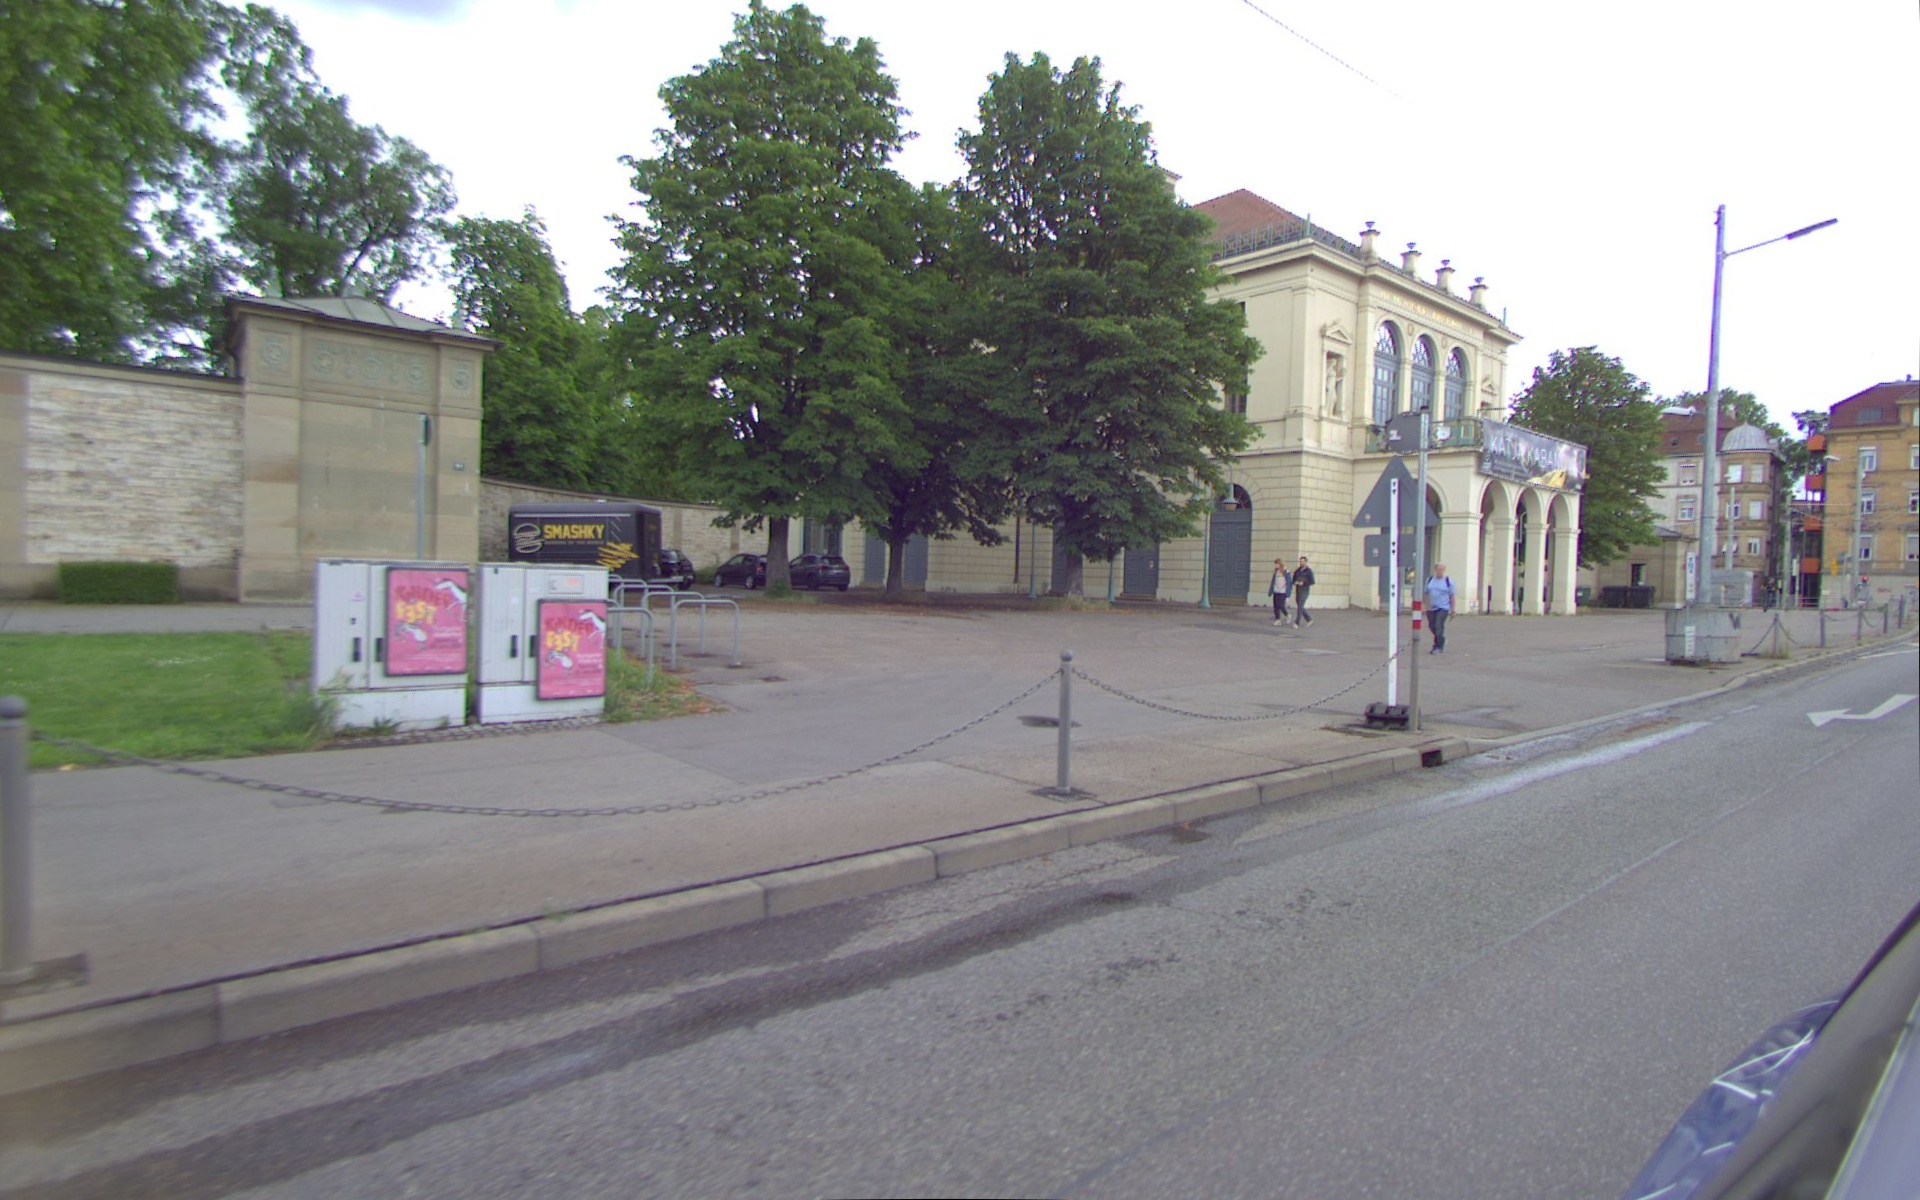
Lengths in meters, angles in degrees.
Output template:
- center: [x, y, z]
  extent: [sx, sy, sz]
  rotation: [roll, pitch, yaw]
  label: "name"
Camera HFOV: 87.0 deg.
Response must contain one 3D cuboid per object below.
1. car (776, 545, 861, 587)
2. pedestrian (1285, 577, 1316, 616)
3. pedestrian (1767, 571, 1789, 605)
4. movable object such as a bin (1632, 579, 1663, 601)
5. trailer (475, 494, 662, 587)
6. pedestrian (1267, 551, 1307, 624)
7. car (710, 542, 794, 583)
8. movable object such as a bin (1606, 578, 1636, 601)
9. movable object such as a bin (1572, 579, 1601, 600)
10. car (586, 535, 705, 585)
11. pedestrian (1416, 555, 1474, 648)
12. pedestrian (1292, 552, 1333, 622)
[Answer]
- center: [-6.019, -1.382, 42.759]
  extent: [1.867, 1.672, 3.785]
  rotation: [0, 0, -40]
  label: "car"
- center: [9.242, -0.100, 27.489]
  extent: [0.748, 1.013, 0.594]
  rotation: [2, 2, 15]
  label: "pedestrian"
- center: [44.056, -0.665, 54.504]
  extent: [0.920, 1.789, 0.672]
  rotation: [0, 2, -40]
  label: "pedestrian"
- center: [43.657, -0.645, 64.293]
  extent: [1.355, 1.385, 1.297]
  rotation: [0, 2, -41]
  label: "movable object such as a bin"
- center: [-12.721, -1.911, 33.113]
  extent: [5.375, 2.892, 1.960]
  rotation: [1, 0, 2]
  label: "trailer"
- center: [8.388, -0.326, 25.958]
  extent: [0.794, 1.814, 0.596]
  rotation: [0, 2, -40]
  label: "pedestrian"
- center: [-8.528, -1.493, 41.346]
  extent: [1.867, 1.588, 3.647]
  rotation: [-1, 0, -40]
  label: "car"
- center: [42.760, -0.670, 65.458]
  extent: [1.355, 1.423, 1.297]
  rotation: [0, 2, -41]
  label: "movable object such as a bin"
- center: [41.147, -0.680, 66.507]
  extent: [1.172, 1.297, 1.297]
  rotation: [0, 2, -40]
  label: "movable object such as a bin"
- center: [-11.329, -1.412, 36.550]
  extent: [3.740, 1.672, 1.889]
  rotation: [0, 0, 19]
  label: "car"
- center: [9.709, 0.017, 20.263]
  extent: [0.920, 1.789, 0.672]
  rotation: [0, 2, -40]
  label: "pedestrian"
- center: [8.856, -0.322, 25.420]
  extent: [0.776, 1.720, 0.597]
  rotation: [0, 2, -40]
  label: "pedestrian"
